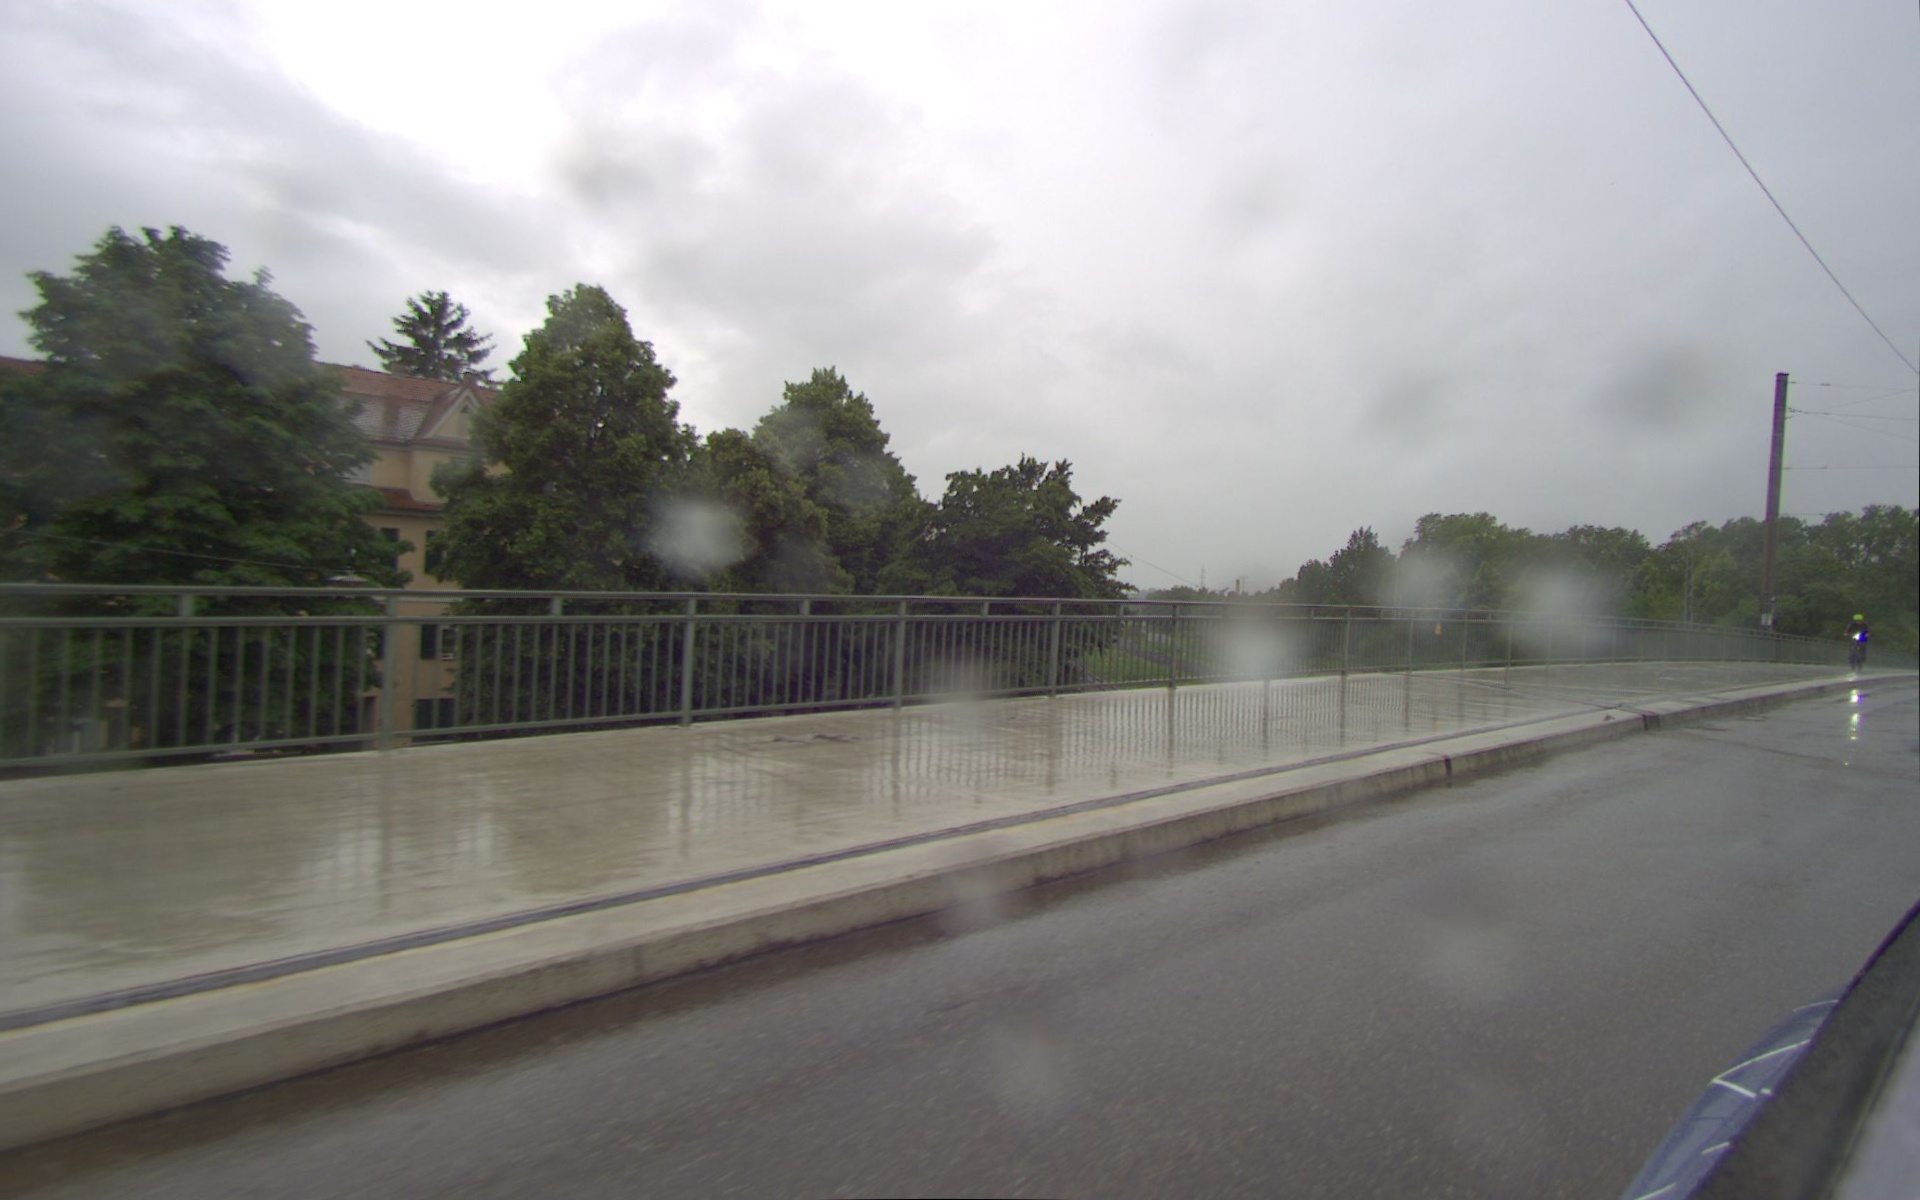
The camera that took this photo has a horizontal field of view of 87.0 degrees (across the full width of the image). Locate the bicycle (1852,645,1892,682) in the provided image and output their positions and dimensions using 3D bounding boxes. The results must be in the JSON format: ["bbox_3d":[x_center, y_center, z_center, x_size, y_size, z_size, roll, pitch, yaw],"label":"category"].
[{"bbox_3d":[29.614,2.039,32.843,2.129,1.143,0.724,3,-2,-41],"label":"bicycle"}]

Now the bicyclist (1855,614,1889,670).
[{"bbox_3d":[29.684,1.360,32.932,0.932,1.786,0.726,2,-1,-41],"label":"bicyclist"}]
